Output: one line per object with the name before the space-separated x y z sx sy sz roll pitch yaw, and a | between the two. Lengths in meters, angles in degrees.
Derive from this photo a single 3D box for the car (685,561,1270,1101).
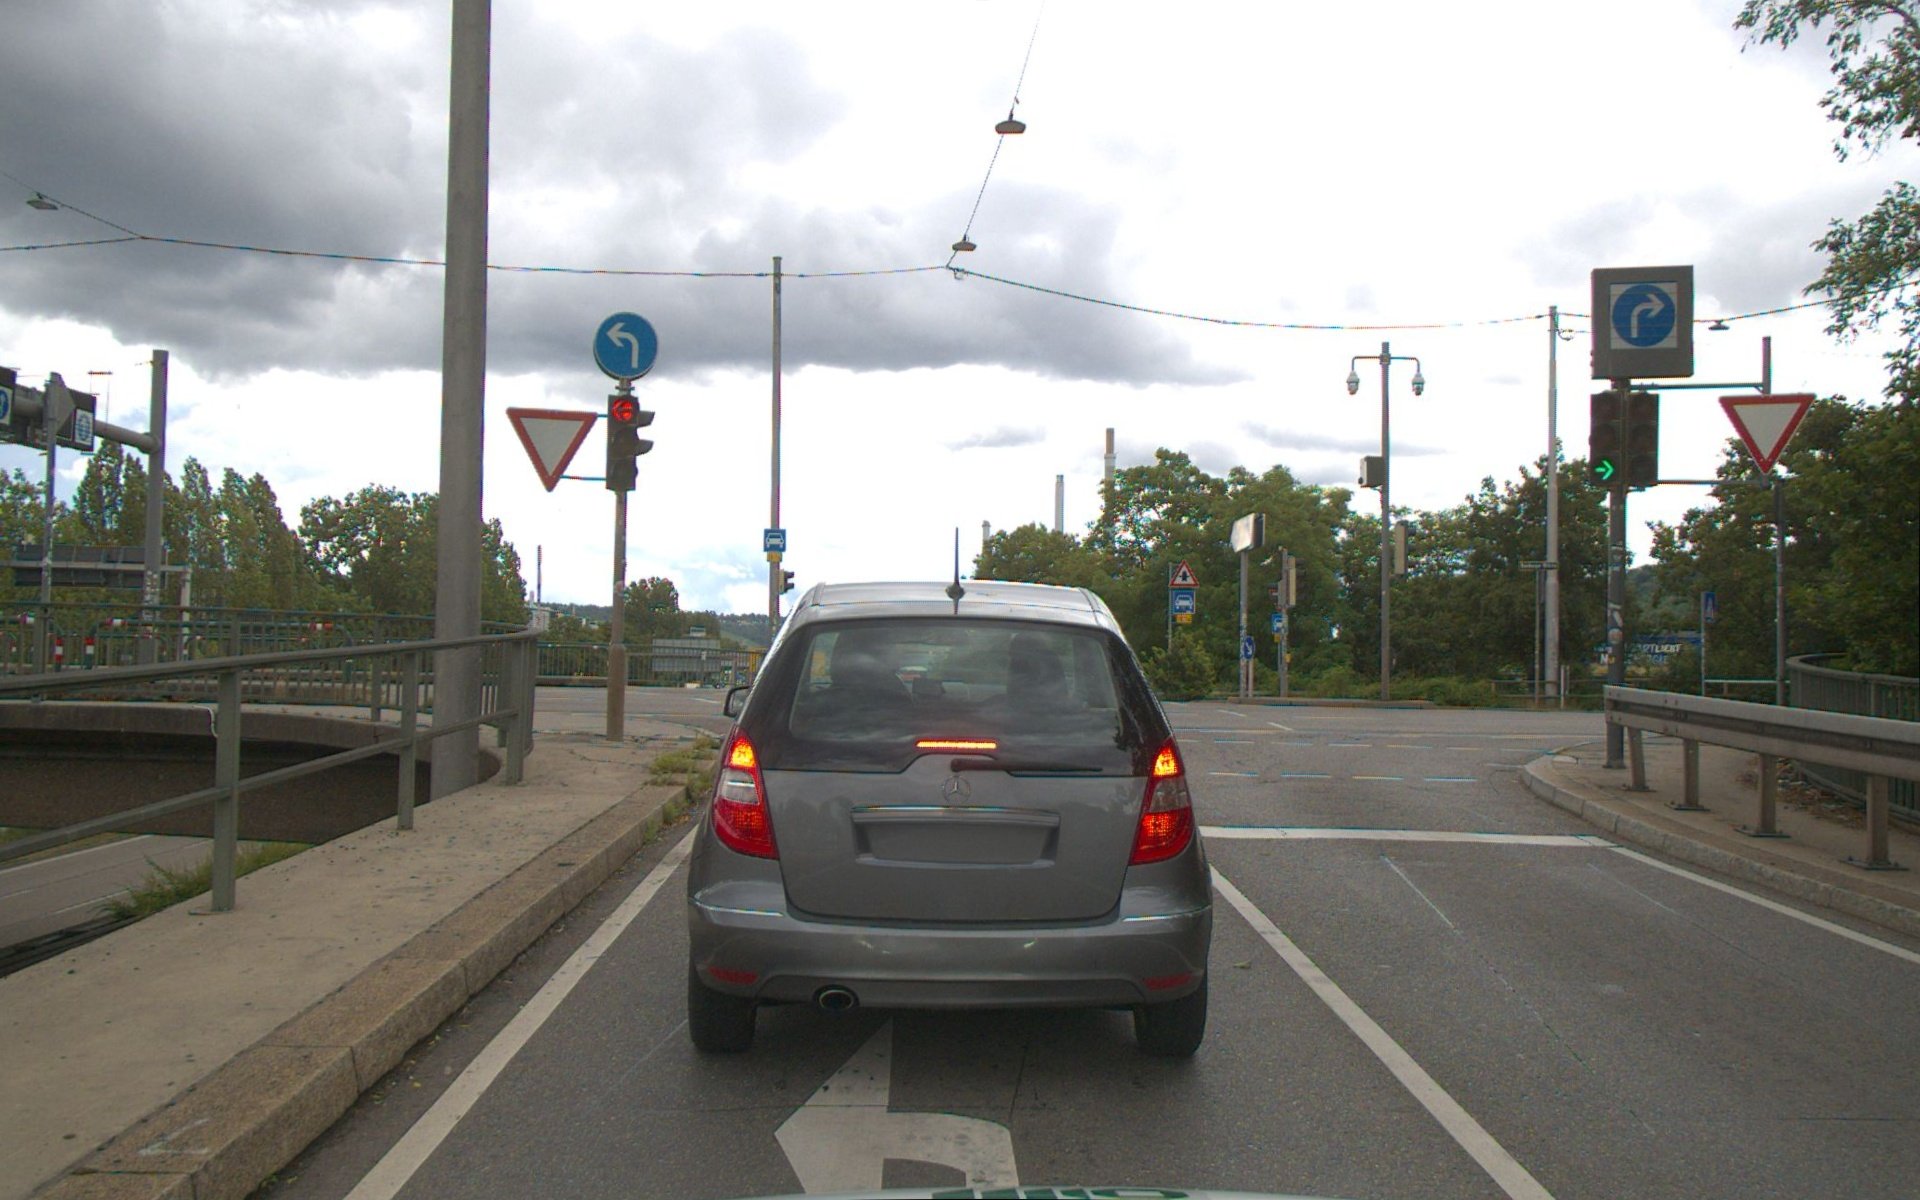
car | 0.036 0.690 6.657 1.704 1.570 3.540 1 0 -1

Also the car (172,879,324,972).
car | -16.384 7.474 38.296 1.585 1.447 4.414 -1 -2 0
